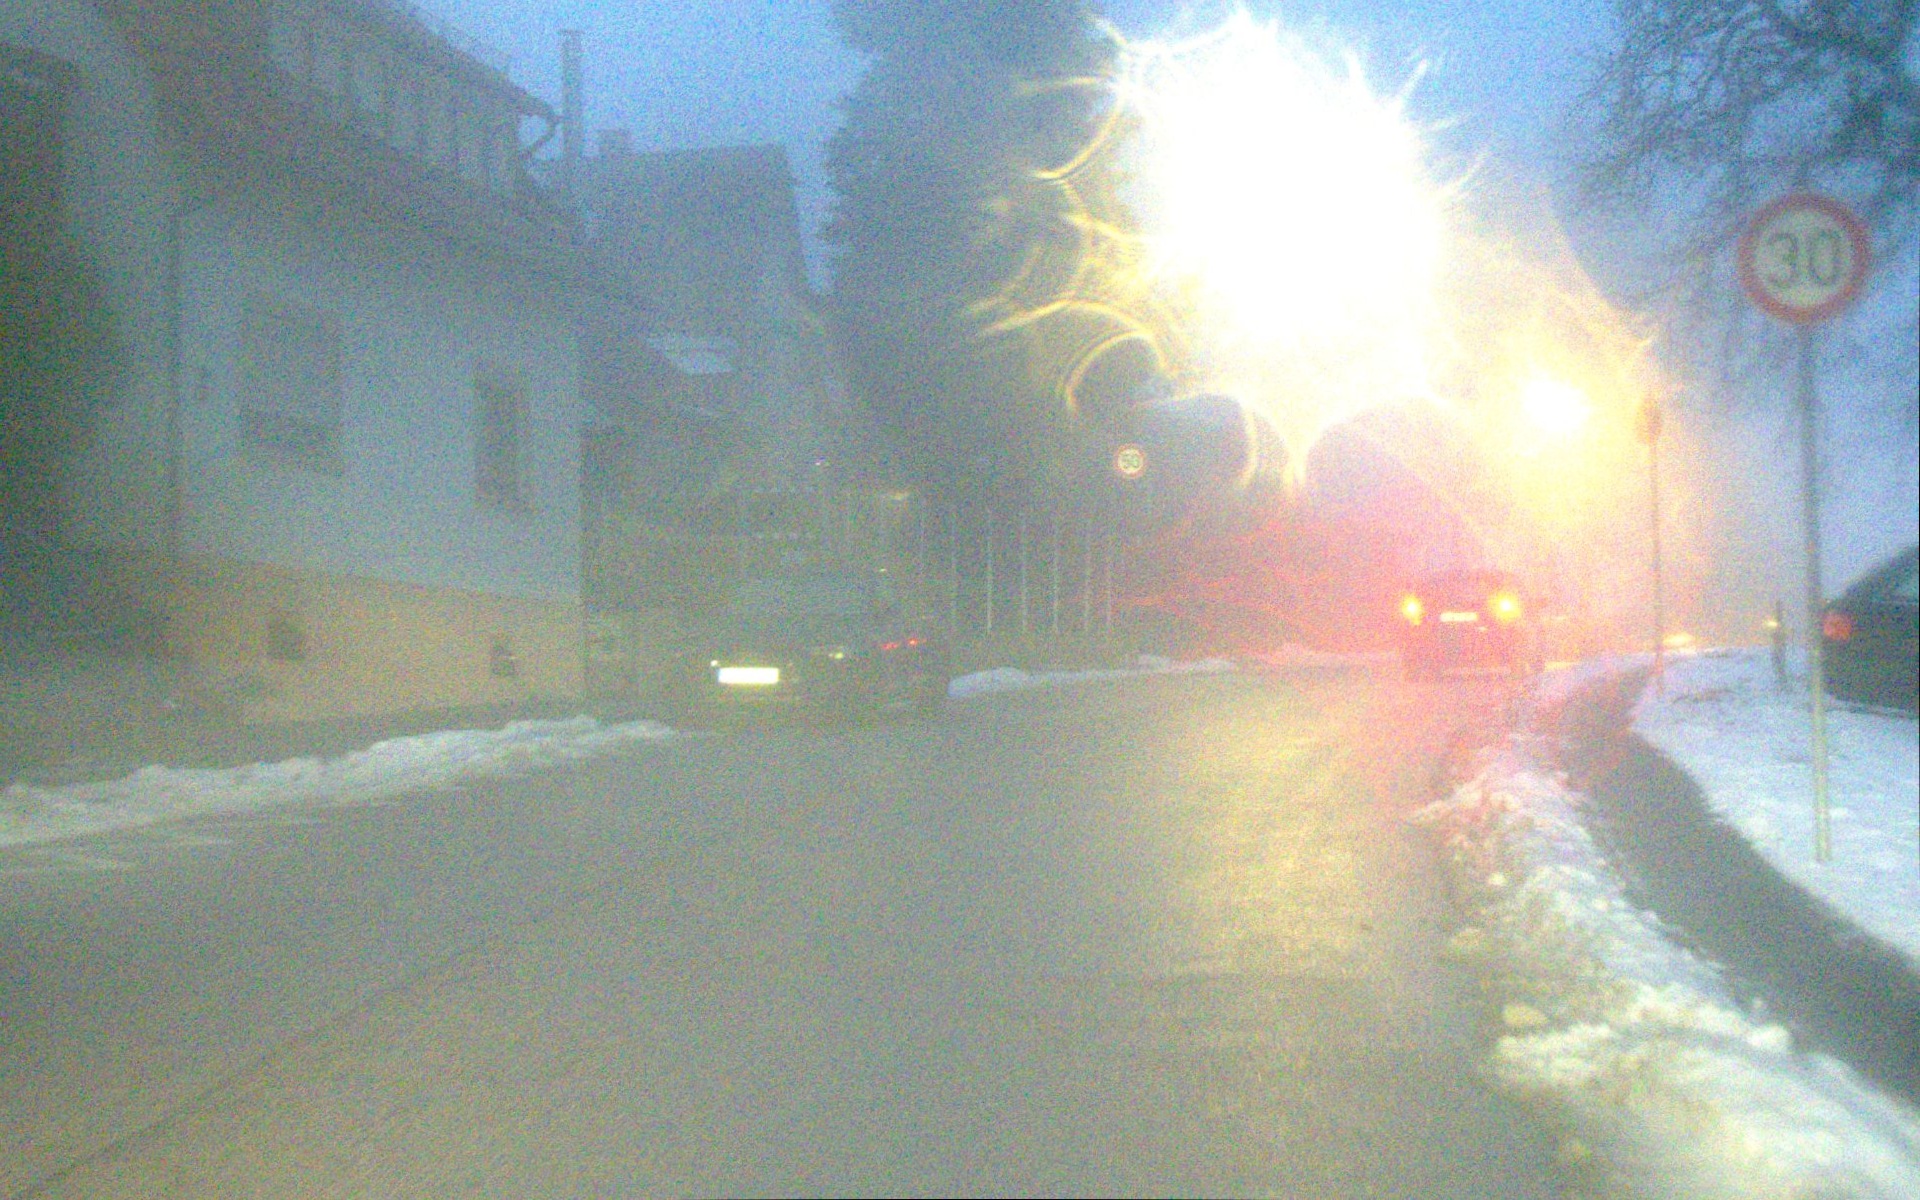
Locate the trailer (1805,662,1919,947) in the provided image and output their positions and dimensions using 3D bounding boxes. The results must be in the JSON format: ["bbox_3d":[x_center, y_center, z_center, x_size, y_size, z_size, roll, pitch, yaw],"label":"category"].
[{"bbox_3d":[4.386,0.682,10.691,1.544,0.942,4.001,-2,1,-17],"label":"trailer"}]

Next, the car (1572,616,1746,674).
[{"bbox_3d":[21.709,1.416,106.750,4.893,1.480,2.120,-4,-3,24],"label":"car"}]

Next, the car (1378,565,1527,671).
[{"bbox_3d":[6.989,0.263,48.674,1.994,1.415,3.998,-1,-1,9],"label":"car"}]

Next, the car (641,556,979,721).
[{"bbox_3d":[-1.308,0.304,32.618,1.878,1.421,5.389,0,1,12],"label":"car"}]

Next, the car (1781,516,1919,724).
[{"bbox_3d":[8.132,0.240,24.271,4.453,1.377,2.034,4,1,13],"label":"car"}]
